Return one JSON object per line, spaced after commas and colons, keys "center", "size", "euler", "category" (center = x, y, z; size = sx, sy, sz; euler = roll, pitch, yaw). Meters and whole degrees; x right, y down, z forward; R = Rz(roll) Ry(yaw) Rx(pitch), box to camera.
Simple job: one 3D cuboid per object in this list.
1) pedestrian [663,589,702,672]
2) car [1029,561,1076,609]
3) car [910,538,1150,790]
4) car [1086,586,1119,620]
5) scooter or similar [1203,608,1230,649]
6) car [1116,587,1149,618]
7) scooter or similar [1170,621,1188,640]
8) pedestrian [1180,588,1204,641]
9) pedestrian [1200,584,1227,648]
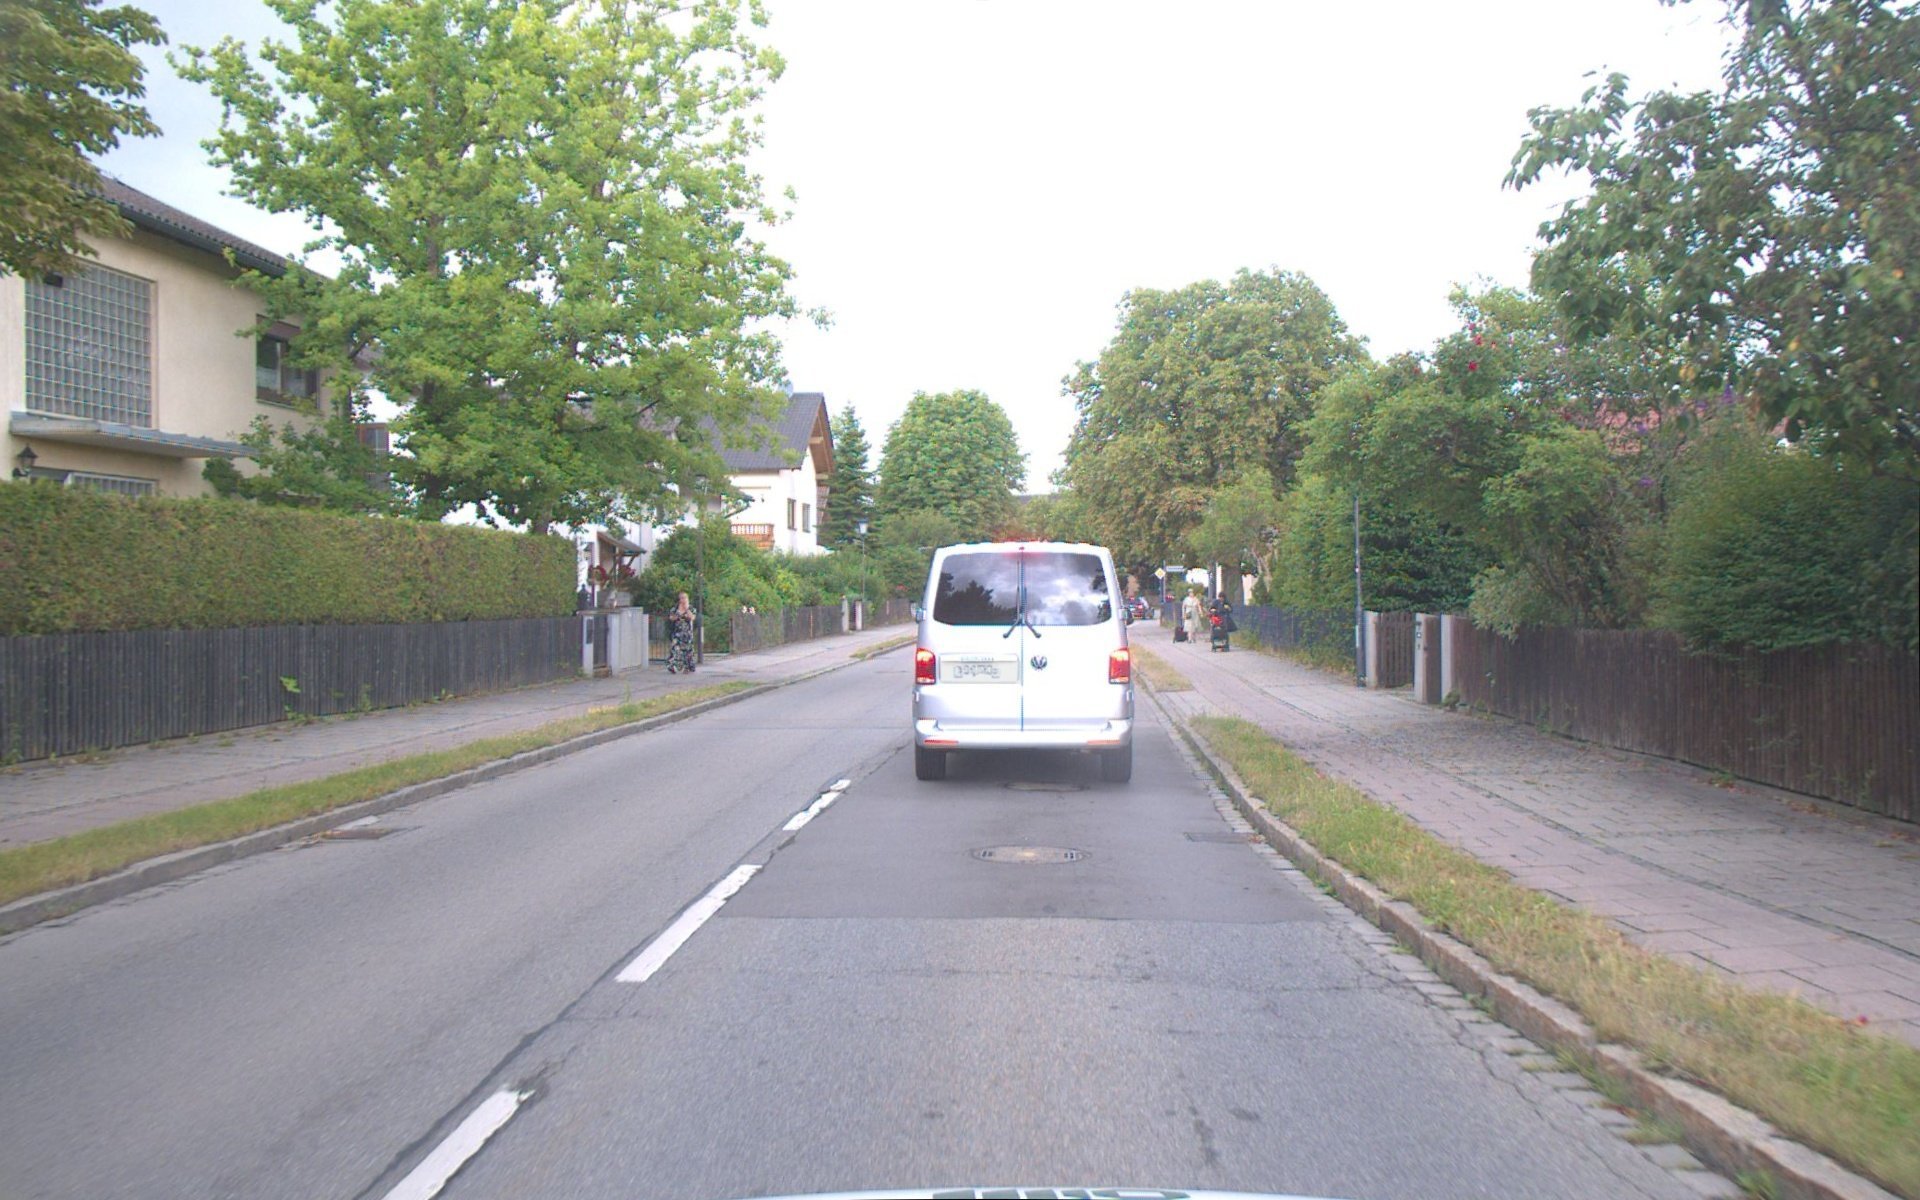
{"center": [-5.332, 0.578, 31.789], "size": [0.609, 1.576, 0.522], "euler": [1, 0, -1], "category": "pedestrian"}
{"center": [4.109, -0.645, 73.229], "size": [1.952, 2.049, 4.002], "euler": [1, 0, 4], "category": "car"}
{"center": [0.646, 0.502, 14.906], "size": [1.848, 1.945, 4.001], "euler": [1, 0, 3], "category": "car"}
{"center": [8.829, 0.157, 102.345], "size": [1.951, 2.049, 4.003], "euler": [-1, 0, 6], "category": "car"}
{"center": [6.318, 0.690, 40.796], "size": [0.540, 0.988, 0.620], "euler": [1, 0, -1], "category": "scooter or similar"}
{"center": [11.763, 0.130, 112.518], "size": [1.951, 2.049, 4.003], "euler": [-1, 0, 10], "category": "car"}
{"center": [6.661, 0.931, 50.303], "size": [0.464, 0.554, 0.458], "euler": [1, 0, -1], "category": "scooter or similar"}
{"center": [6.975, 0.434, 49.718], "size": [0.609, 1.550, 0.579], "euler": [1, 0, -1], "category": "pedestrian"}
{"center": [6.354, 0.404, 41.497], "size": [0.540, 1.576, 0.612], "euler": [1, 0, -1], "category": "pedestrian"}
